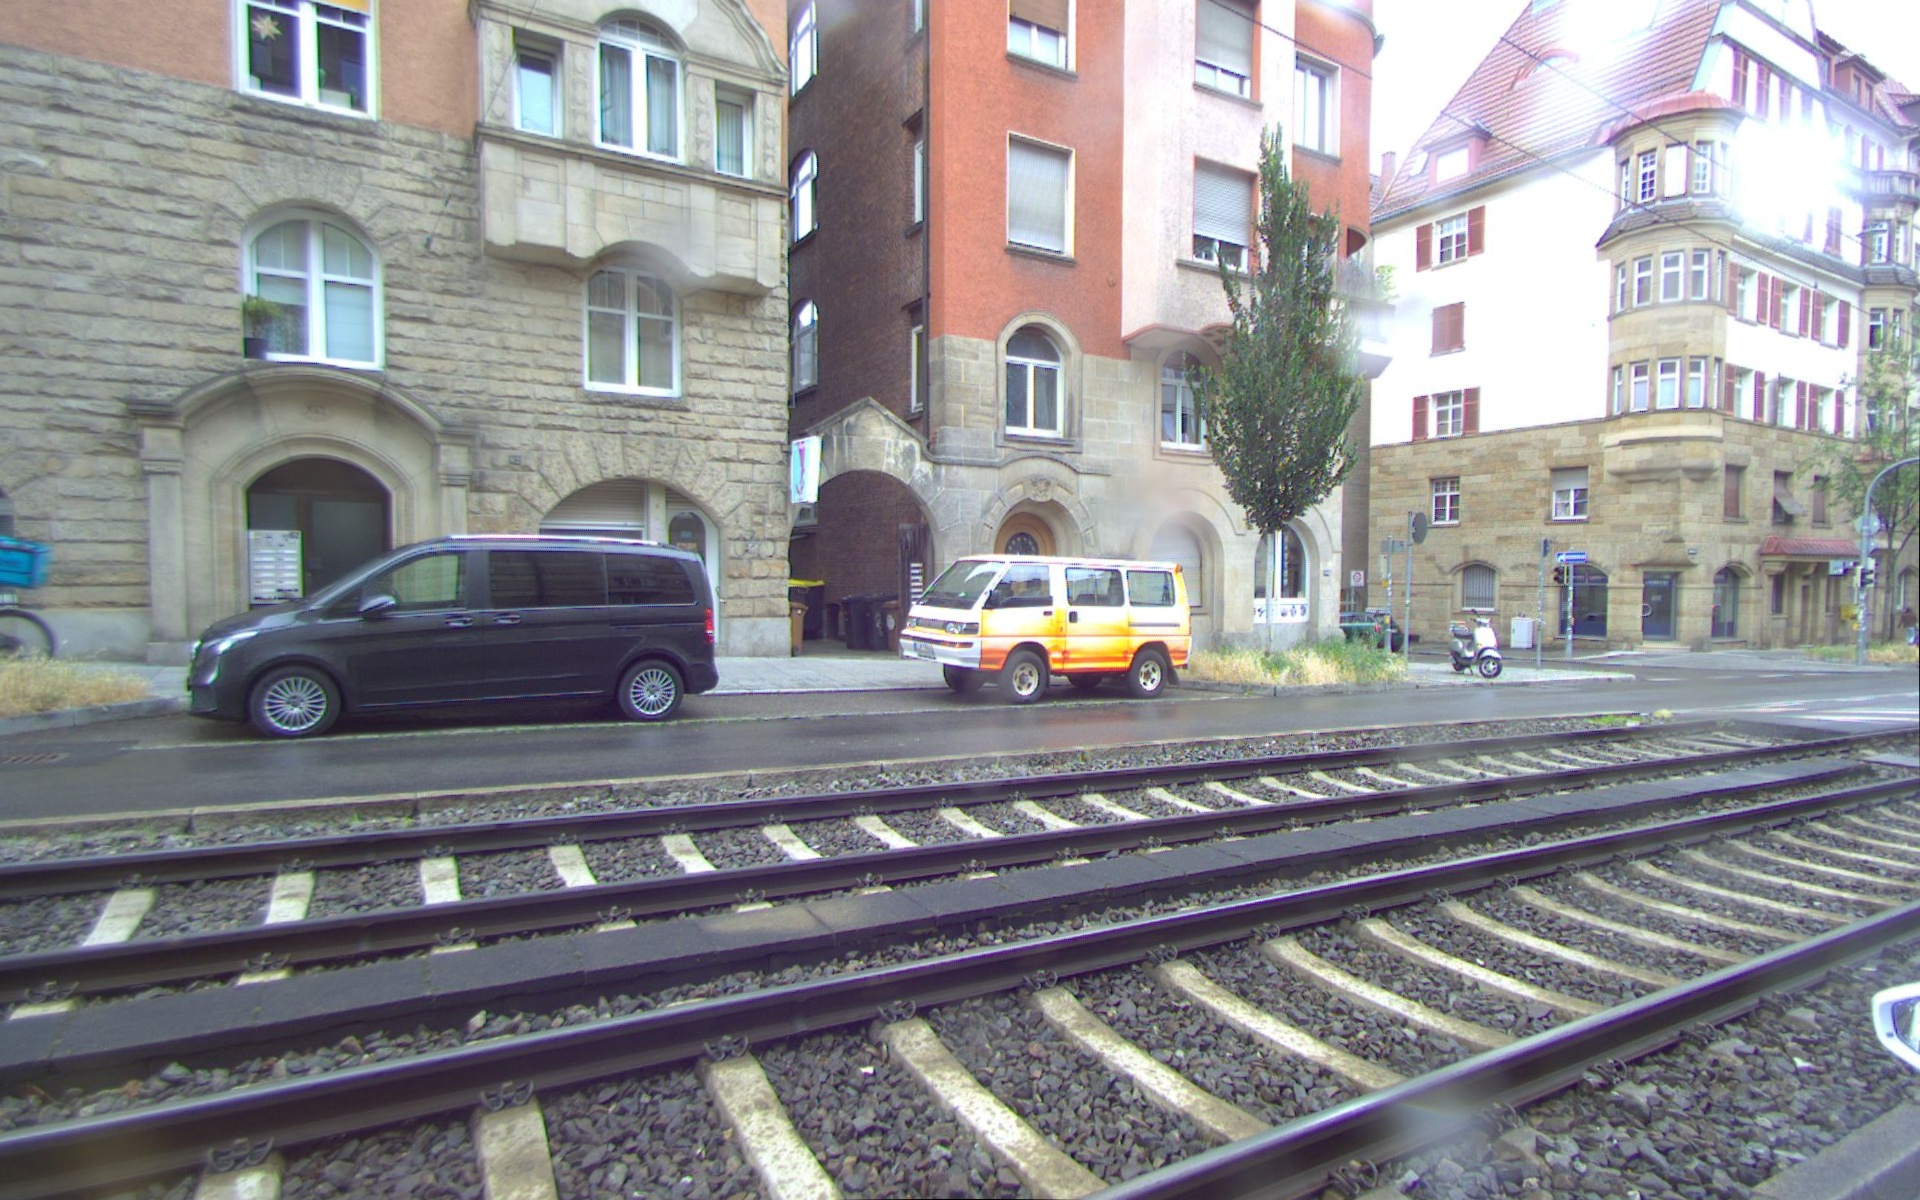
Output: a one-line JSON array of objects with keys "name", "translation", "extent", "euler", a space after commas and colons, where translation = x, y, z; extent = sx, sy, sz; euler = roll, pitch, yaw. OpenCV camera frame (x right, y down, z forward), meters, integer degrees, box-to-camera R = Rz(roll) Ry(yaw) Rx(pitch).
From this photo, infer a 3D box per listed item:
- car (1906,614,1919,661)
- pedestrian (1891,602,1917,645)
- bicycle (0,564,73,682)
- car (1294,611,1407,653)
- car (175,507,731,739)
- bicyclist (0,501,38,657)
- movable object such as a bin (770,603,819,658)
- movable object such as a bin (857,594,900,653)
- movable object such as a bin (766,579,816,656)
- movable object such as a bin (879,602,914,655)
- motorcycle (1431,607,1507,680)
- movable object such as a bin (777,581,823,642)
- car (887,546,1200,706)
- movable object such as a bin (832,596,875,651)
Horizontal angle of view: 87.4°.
[{"name": "car", "translation": [34.159, 1.335, 34.355], "extent": [3.994, 1.573, 1.741], "euler": [2, 0, -34]}, {"name": "pedestrian", "translation": [37.183, 0.928, 39.555], "extent": [0.696, 1.695, 0.626], "euler": [2, 0, -38]}, {"name": "bicycle", "translation": [-10.721, 0.218, 10.489], "extent": [2.006, 1.202, 0.822], "euler": [1, 2, -20]}, {"name": "car", "translation": [14.452, 1.164, 37.342], "extent": [1.683, 1.423, 3.618], "euler": [2, 0, -34]}, {"name": "car", "translation": [-5.057, 0.256, 10.591], "extent": [4.769, 1.968, 1.984], "euler": [2, 0, -30]}, {"name": "bicyclist", "translation": [-10.610, -0.235, 10.443], "extent": [1.234, 1.619, 0.883], "euler": [1, 1, -19]}, {"name": "movable object such as a bin", "translation": [-2.898, 0.530, 17.587], "extent": [0.627, 0.918, 0.793], "euler": [1, 1, -27]}, {"name": "movable object such as a bin", "translation": [-1.553, 0.447, 19.136], "extent": [0.607, 1.090, 0.679], "euler": [1, -1, -27]}, {"name": "movable object such as a bin", "translation": [-3.114, 0.309, 18.460], "extent": [0.648, 1.360, 0.903], "euler": [1, 1, -27]}, {"name": "movable object such as a bin", "translation": [-1.180, 0.522, 18.628], "extent": [0.442, 0.957, 0.557], "euler": [1, -1, -27]}, {"name": "motorcycle", "translation": [10.099, 0.836, 19.999], "extent": [0.612, 1.384, 1.596], "euler": [2, 0, -3]}, {"name": "movable object such as a bin", "translation": [-3.618, 0.247, 22.653], "extent": [0.676, 1.324, 1.154], "euler": [1, 1, -26]}, {"name": "car", "translation": [1.269, 0.382, 14.436], "extent": [4.295, 2.001, 1.721], "euler": [2, 0, -32]}, {"name": "movable object such as a bin", "translation": [-2.091, 0.453, 19.682], "extent": [0.607, 1.052, 0.793], "euler": [1, -1, -27]}]
